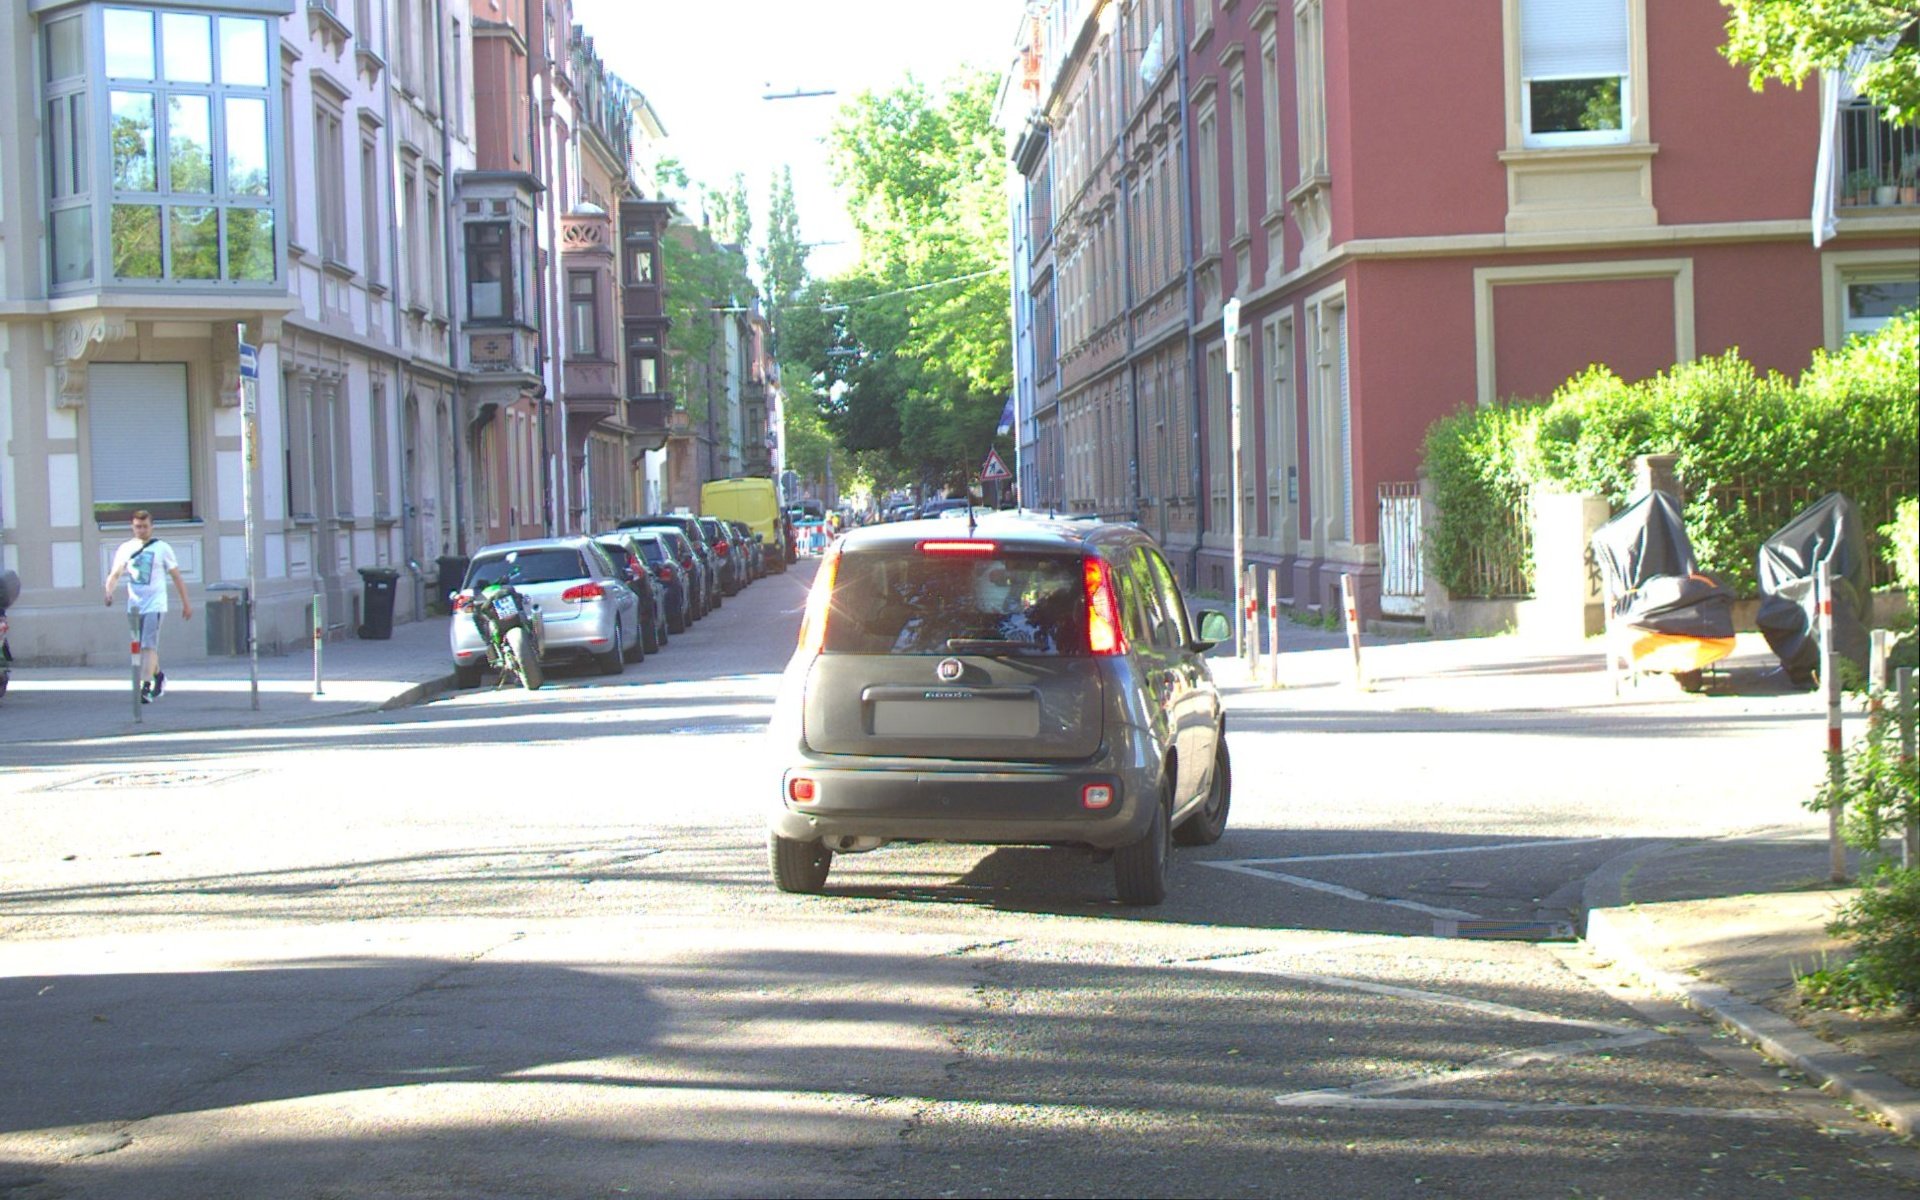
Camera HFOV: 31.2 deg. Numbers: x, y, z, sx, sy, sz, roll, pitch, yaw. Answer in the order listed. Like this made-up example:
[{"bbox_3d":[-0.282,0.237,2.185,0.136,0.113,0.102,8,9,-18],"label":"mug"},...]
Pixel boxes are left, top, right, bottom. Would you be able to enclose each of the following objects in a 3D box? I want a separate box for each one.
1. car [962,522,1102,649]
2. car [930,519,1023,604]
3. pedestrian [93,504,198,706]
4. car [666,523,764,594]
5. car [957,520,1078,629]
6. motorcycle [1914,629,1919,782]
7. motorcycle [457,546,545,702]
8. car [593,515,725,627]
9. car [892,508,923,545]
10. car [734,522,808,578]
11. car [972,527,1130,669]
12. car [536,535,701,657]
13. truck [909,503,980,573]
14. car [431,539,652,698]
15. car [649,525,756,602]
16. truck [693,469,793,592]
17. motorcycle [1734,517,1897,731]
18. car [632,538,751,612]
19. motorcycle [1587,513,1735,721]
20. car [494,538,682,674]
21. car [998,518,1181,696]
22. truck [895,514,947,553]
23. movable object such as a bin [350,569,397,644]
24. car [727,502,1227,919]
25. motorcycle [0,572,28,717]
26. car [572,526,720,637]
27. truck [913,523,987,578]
[{"bbox_3d":[0.875,-0.217,43.686,1.663,1.500,3.757,-1,2,0],"label":"car"},{"bbox_3d":[0.289,-0.730,63.756,1.663,1.500,3.757,-1,2,0],"label":"car"},{"bbox_3d":[-7.510,0.039,31.711,0.723,1.833,0.626,0,2,10],"label":"pedestrian"},{"bbox_3d":[-5.846,-1.017,82.474,1.962,1.474,3.925,-5,2,0],"label":"car"},{"bbox_3d":[0.804,-0.399,50.087,1.663,1.500,3.757,-1,2,0],"label":"car"},{"bbox_3d":[3.584,0.684,9.333,1.851,1.262,0.504,-2,1,14],"label":"motorcycle"},{"bbox_3d":[-4.506,0.212,33.683,0.696,1.455,1.751,-3,1,-11],"label":"motorcycle"},{"bbox_3d":[-5.092,-0.527,58.531,1.775,1.693,3.925,-5,2,0],"label":"car"},{"bbox_3d":[-2.416,-3.392,158.544,1.367,1.612,3.414,-2,2,0],"label":"car"},{"bbox_3d":[-5.742,-1.534,104.840,1.962,1.474,3.925,-5,2,0],"label":"car"},{"bbox_3d":[0.992,-0.062,39.090,1.663,1.500,3.757,-1,2,0],"label":"car"},{"bbox_3d":[-4.752,-0.094,48.281,1.825,1.462,3.925,-5,2,0],"label":"car"},{"bbox_3d":[-0.484,-1.884,103.344,1.993,1.985,4.001,-2,2,-1],"label":"truck"},{"bbox_3d":[-4.440,0.152,36.982,1.797,1.427,3.925,-5,2,0],"label":"car"},{"bbox_3d":[-5.625,-0.826,75.468,1.962,1.474,3.925,-5,2,0],"label":"car"},{"bbox_3d":[-5.617,-1.827,89.563,2.070,2.915,5.068,-6,1,0],"label":"truck"},{"bbox_3d":[6.314,0.140,25.493,0.826,1.399,2.556,-2,3,7],"label":"motorcycle"},{"bbox_3d":[-5.267,-0.515,67.823,1.962,1.220,3.925,-5,2,0],"label":"car"},{"bbox_3d":[5.314,0.100,26.127,1.020,1.399,2.191,-2,3,11],"label":"motorcycle"},{"bbox_3d":[-4.498,0.037,42.067,1.777,1.408,3.925,-5,2,0],"label":"car"},{"bbox_3d":[1.258,0.026,34.600,1.663,1.663,3.757,-1,2,0],"label":"car"},{"bbox_3d":[-1.560,-2.682,137.521,1.993,1.451,4.001,-2,2,-1],"label":"truck"},{"bbox_3d":[-7.646,0.080,44.827,0.511,0.949,0.501,-2,1,-4],"label":"movable object such as a bin"},{"bbox_3d":[0.178,0.369,14.743,1.633,1.544,3.263,1,2,9],"label":"car"},{"bbox_3d":[-8.896,0.414,30.463,0.518,1.289,1.611,0,2,13],"label":"motorcycle"},{"bbox_3d":[-4.832,-0.321,53.379,1.828,1.474,3.925,-5,2,0],"label":"car"},{"bbox_3d":[-0.308,-1.434,97.973,1.993,1.451,4.001,-2,2,-1],"label":"truck"}]
